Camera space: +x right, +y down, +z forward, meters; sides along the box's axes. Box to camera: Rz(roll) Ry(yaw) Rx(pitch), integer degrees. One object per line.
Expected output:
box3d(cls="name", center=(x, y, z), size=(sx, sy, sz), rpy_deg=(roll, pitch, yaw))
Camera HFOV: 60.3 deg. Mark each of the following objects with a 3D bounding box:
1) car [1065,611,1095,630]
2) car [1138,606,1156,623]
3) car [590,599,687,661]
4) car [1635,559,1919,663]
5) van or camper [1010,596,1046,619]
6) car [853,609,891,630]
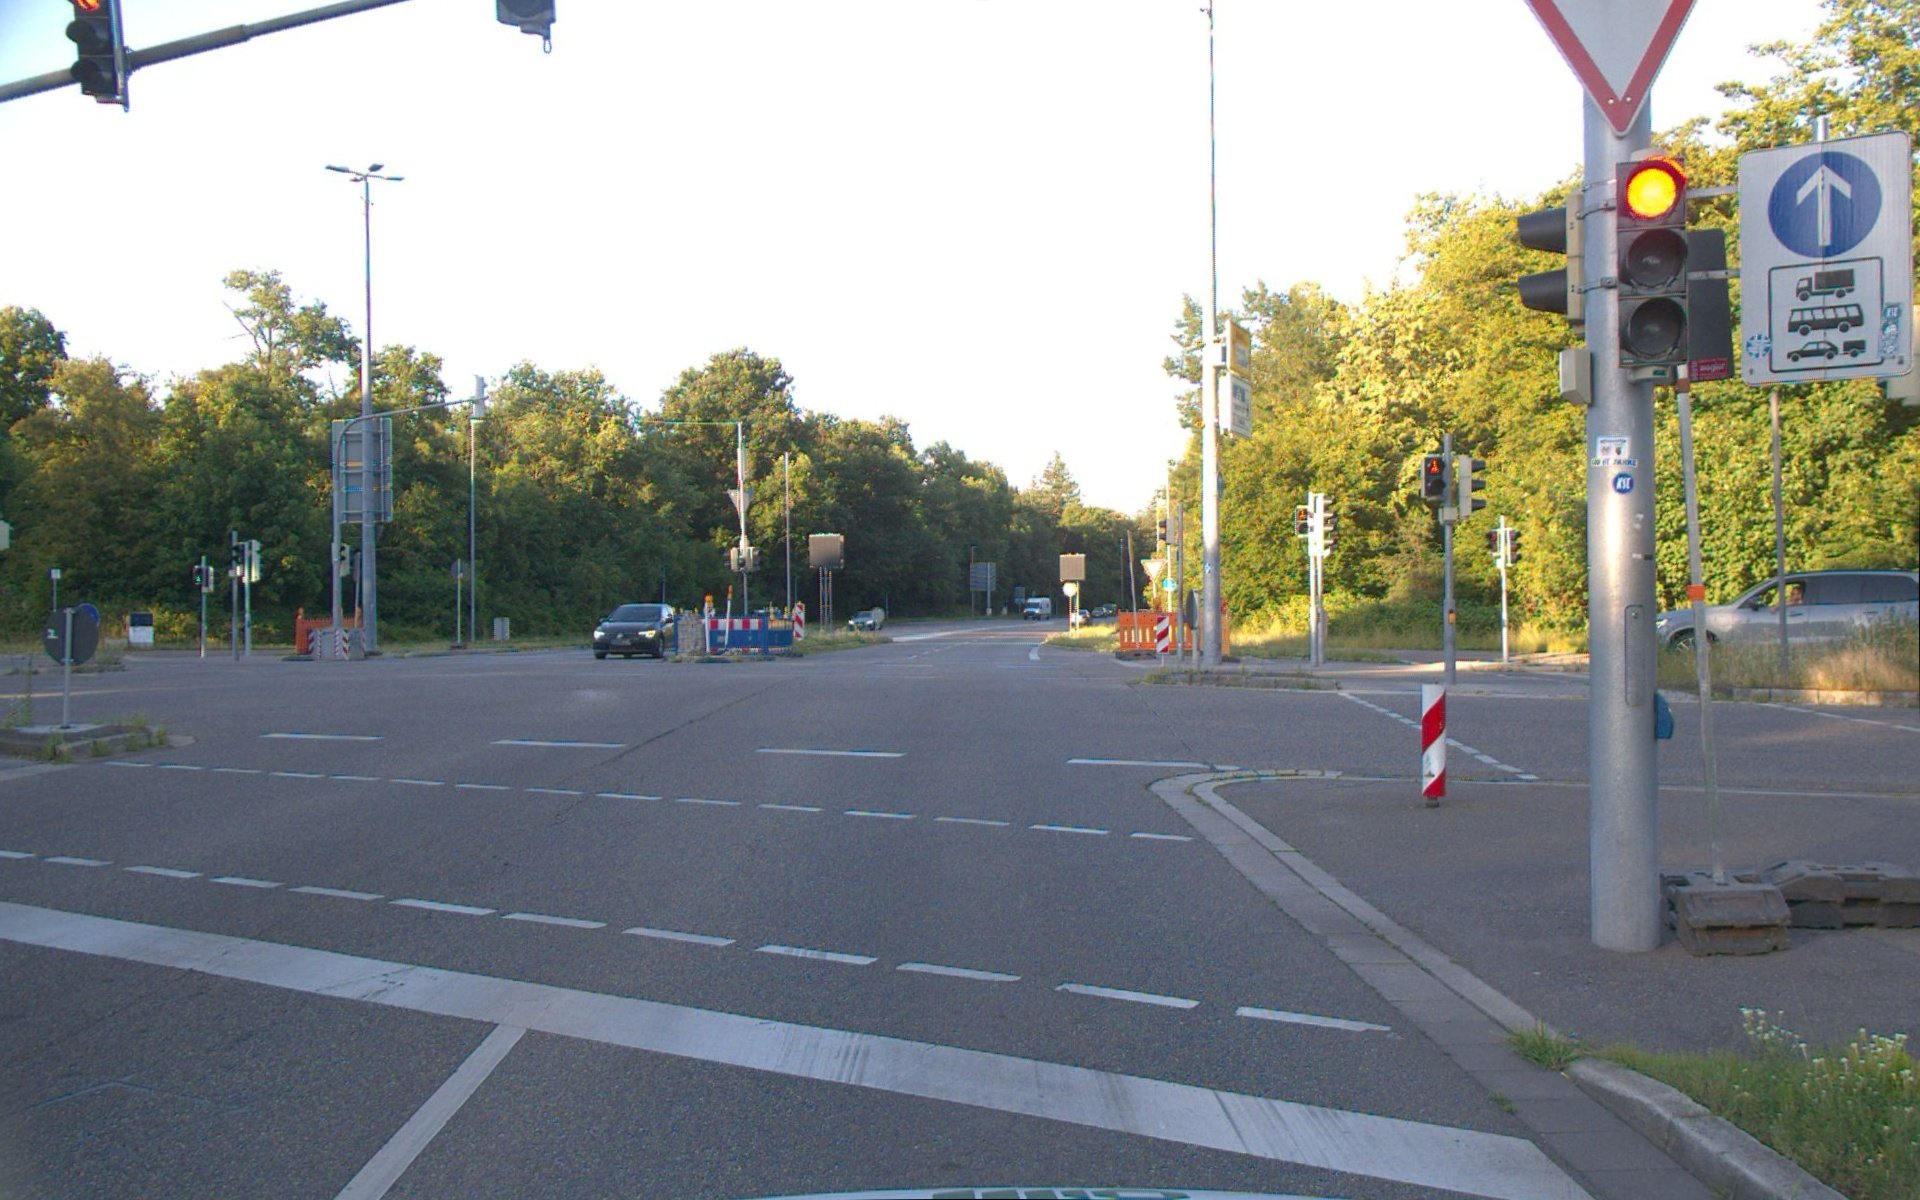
box3d(cls="car", center=(10.908, 1.828, 150.577), size=(1.951, 1.646, 4.003), rpy_deg=(0, 0, 15))
box3d(cls="car", center=(23.908, 1.833, 211.616), size=(1.750, 2.049, 4.003), rpy_deg=(-1, 0, 13))
box3d(cls="car", center=(-8.571, 0.751, 44.448), size=(1.954, 1.556, 4.674), rpy_deg=(-1, 0, -4))
box3d(cls="car", center=(13.786, 0.184, 27.426), size=(4.716, 1.626, 2.000), rpy_deg=(-1, 0, 21))
box3d(cls="van or camper", center=(8.360, 0.891, 202.813), size=(2.824, 2.699, 7.127), rpy_deg=(0, 0, 15))
box3d(cls="car", center=(-6.377, 1.396, 120.399), size=(1.951, 1.445, 4.003), rpy_deg=(-1, 0, 10))
